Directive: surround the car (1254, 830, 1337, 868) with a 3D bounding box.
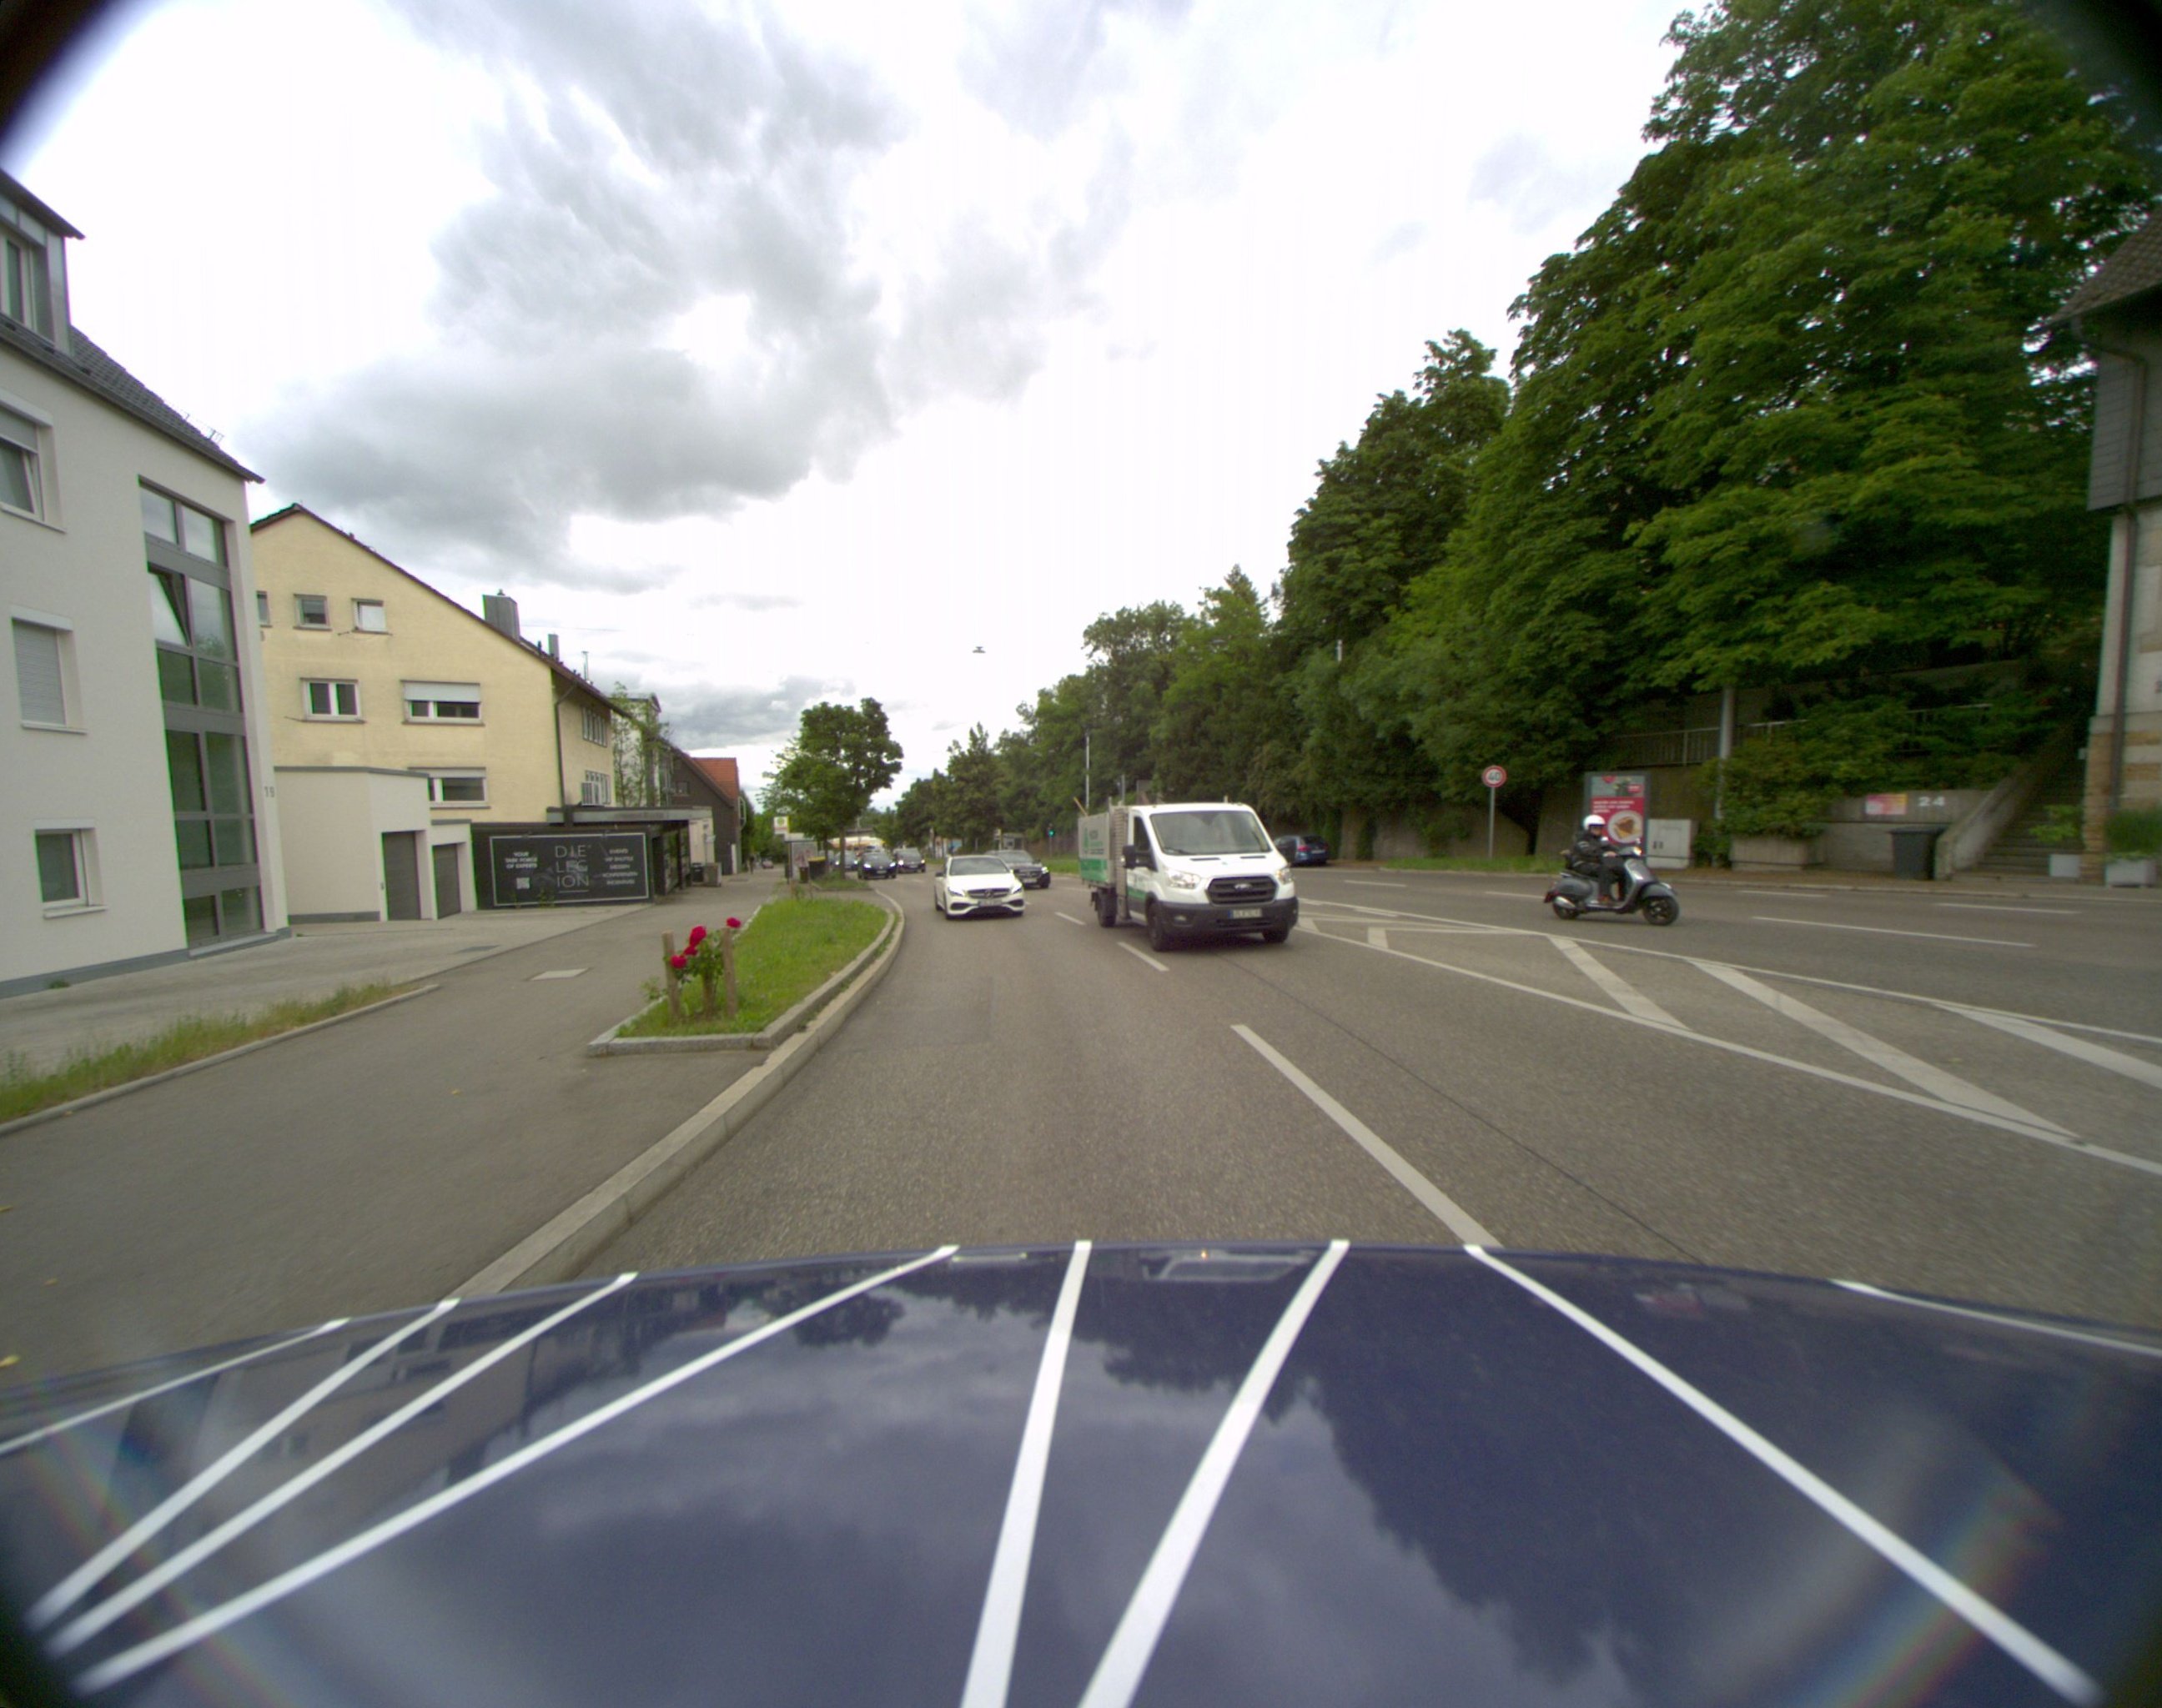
[{"bbox_3d":[9.664,-0.206,34.608,1.718,1.520,4.296,-4,1,-14],"label":"car"}]

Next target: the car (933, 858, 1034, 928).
[{"bbox_3d":[-2.483,0.846,18.429,1.819,1.391,3.994,-3,1,-15],"label":"car"}]

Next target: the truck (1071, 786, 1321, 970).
[{"bbox_3d":[1.512,0.236,13.040,2.082,2.308,6.323,-3,2,-12],"label":"truck"}]

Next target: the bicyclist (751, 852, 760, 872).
[{"bbox_3d":[-27.445,0.669,64.121,0.540,1.624,0.945,-3,1,-21],"label":"bicyclist"}]

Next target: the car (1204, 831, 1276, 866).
[{"bbox_3d":[8.327,-0.277,40.212,1.787,1.619,4.163,-4,1,-19],"label":"car"}]

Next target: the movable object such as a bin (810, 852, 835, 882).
[{"bbox_3d":[-13.757,0.685,40.409,1.090,1.473,1.534,-3,1,-21],"label":"movable object such as a bin"}]

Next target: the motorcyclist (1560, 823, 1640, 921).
[{"bbox_3d":[7.888,0.260,11.562,0.685,1.411,0.721,-3,1,-22],"label":"motorcyclist"}]

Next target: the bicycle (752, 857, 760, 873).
[{"bbox_3d":[-27.536,0.936,64.386,0.573,1.255,2.035,-2,0,-22],"label":"bicycle"}]

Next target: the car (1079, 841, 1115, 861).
[{"bbox_3d":[1.276,-0.269,62.046,1.787,1.490,3.092,-4,1,-22],"label":"car"}]

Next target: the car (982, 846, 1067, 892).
[{"bbox_3d":[-2.218,0.539,28.515,1.919,1.472,4.392,-4,1,-21],"label":"car"}]

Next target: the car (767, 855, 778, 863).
[{"bbox_3d":[-61.894,1.010,152.290,1.926,1.641,3.993,-3,1,-23],"label":"car"}]

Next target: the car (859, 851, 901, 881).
[{"bbox_3d":[-11.546,0.680,43.563,1.780,1.532,3.993,-4,1,-22],"label":"car"}]

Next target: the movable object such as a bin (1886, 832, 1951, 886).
[{"bbox_3d":[16.485,0.091,14.966,0.540,1.014,0.646,-2,4,-8],"label":"movable object such as a bin"}]

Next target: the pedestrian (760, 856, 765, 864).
[{"bbox_3d":[-60.329,1.202,143.968,0.714,1.462,0.694,-4,1,-23],"label":"pedestrian"}]

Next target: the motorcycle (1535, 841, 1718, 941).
[{"bbox_3d":[8.048,0.500,11.339,0.831,1.291,2.042,-5,2,-23],"label":"motorcycle"}]
